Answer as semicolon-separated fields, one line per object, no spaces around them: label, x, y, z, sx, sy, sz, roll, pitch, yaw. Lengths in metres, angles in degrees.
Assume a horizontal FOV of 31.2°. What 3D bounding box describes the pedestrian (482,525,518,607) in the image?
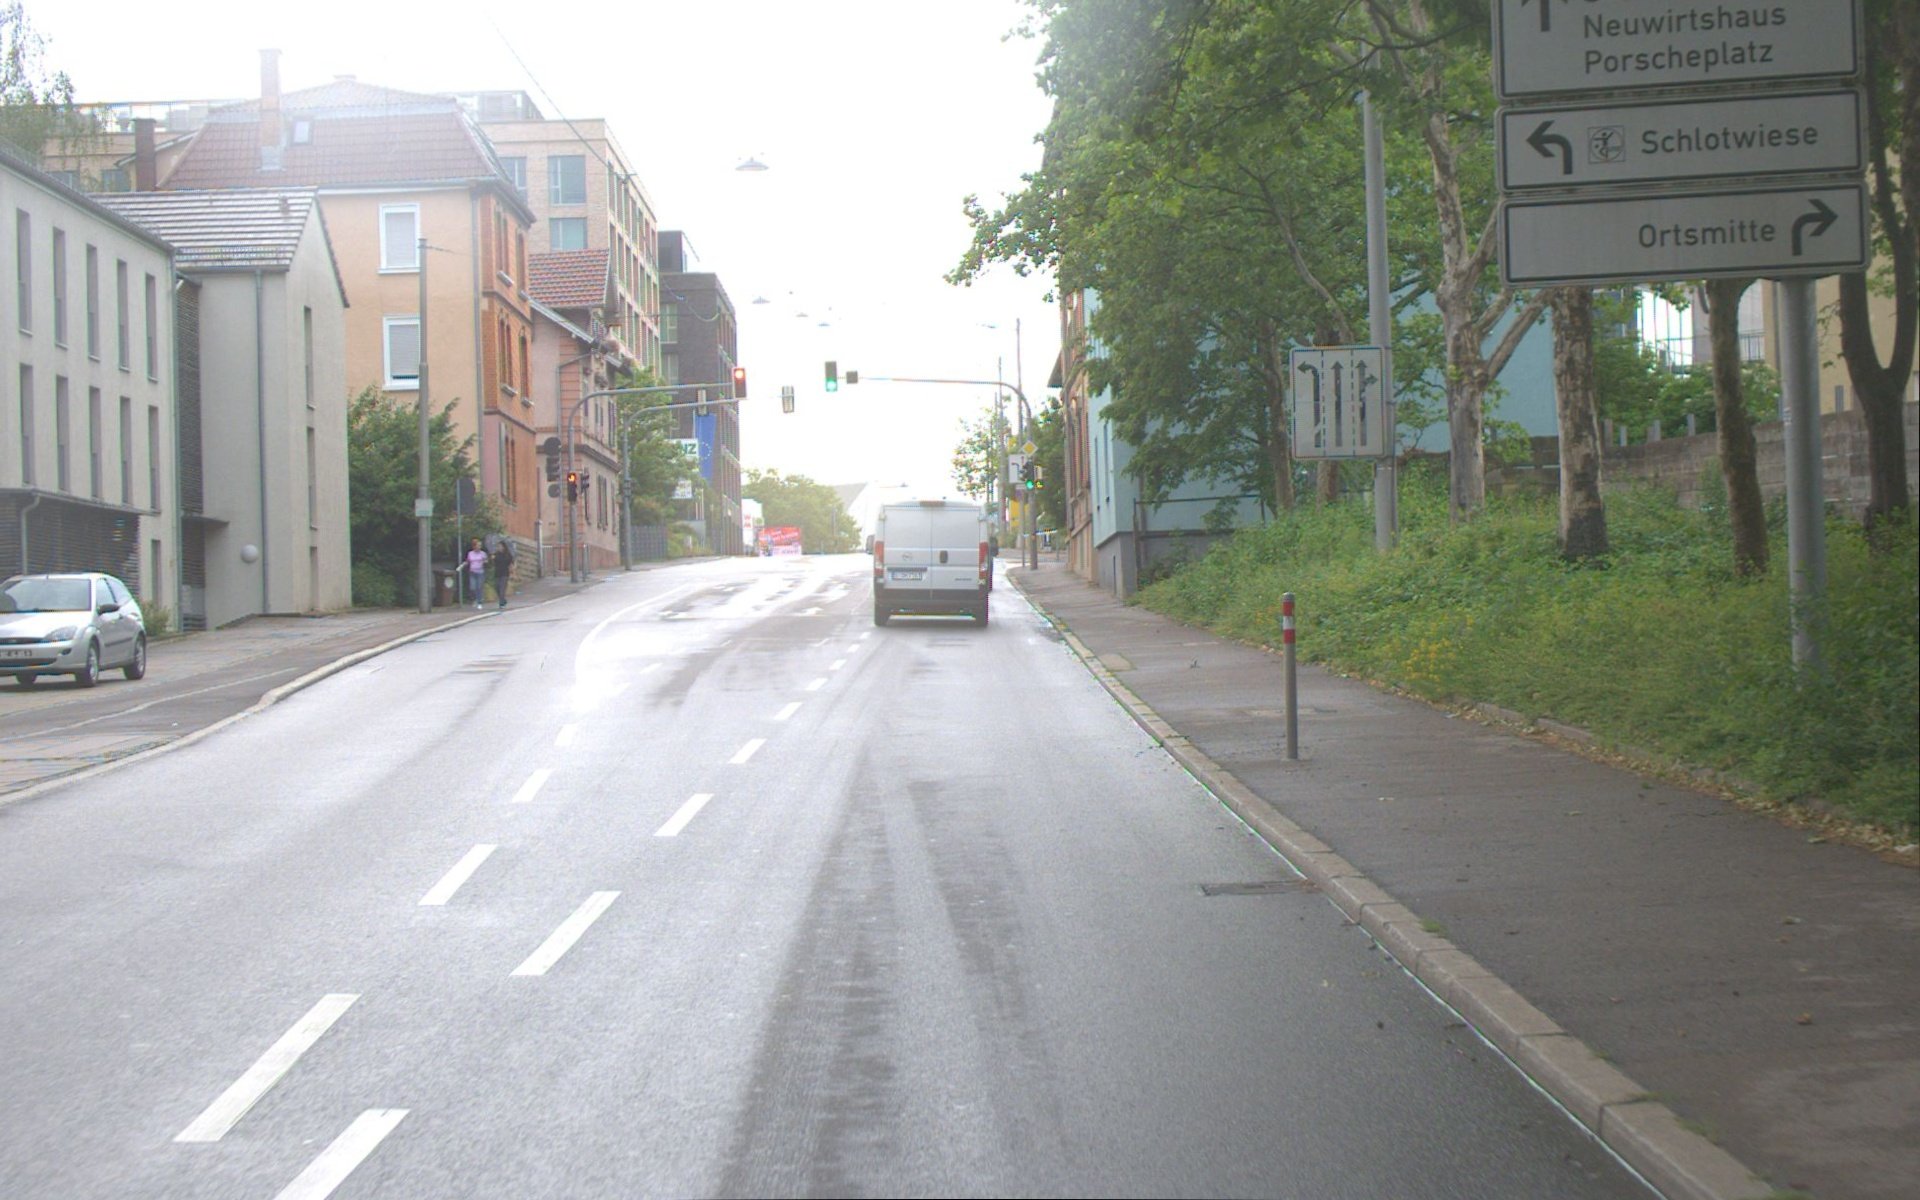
pedestrian;-11.271;-0.837;84.297;0.671;2.007;0.941;-1;1;4

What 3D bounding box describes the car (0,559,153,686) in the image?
car;-11.829;0.264;44.997;1.667;1.525;4.096;-2;1;-2

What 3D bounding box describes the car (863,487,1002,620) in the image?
car;-0.470;-0.792;61.767;2.336;2.223;4.000;-2;-1;0

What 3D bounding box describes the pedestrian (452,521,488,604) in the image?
pedestrian;-12.015;-0.917;84.340;0.671;2.007;0.941;-1;1;4
